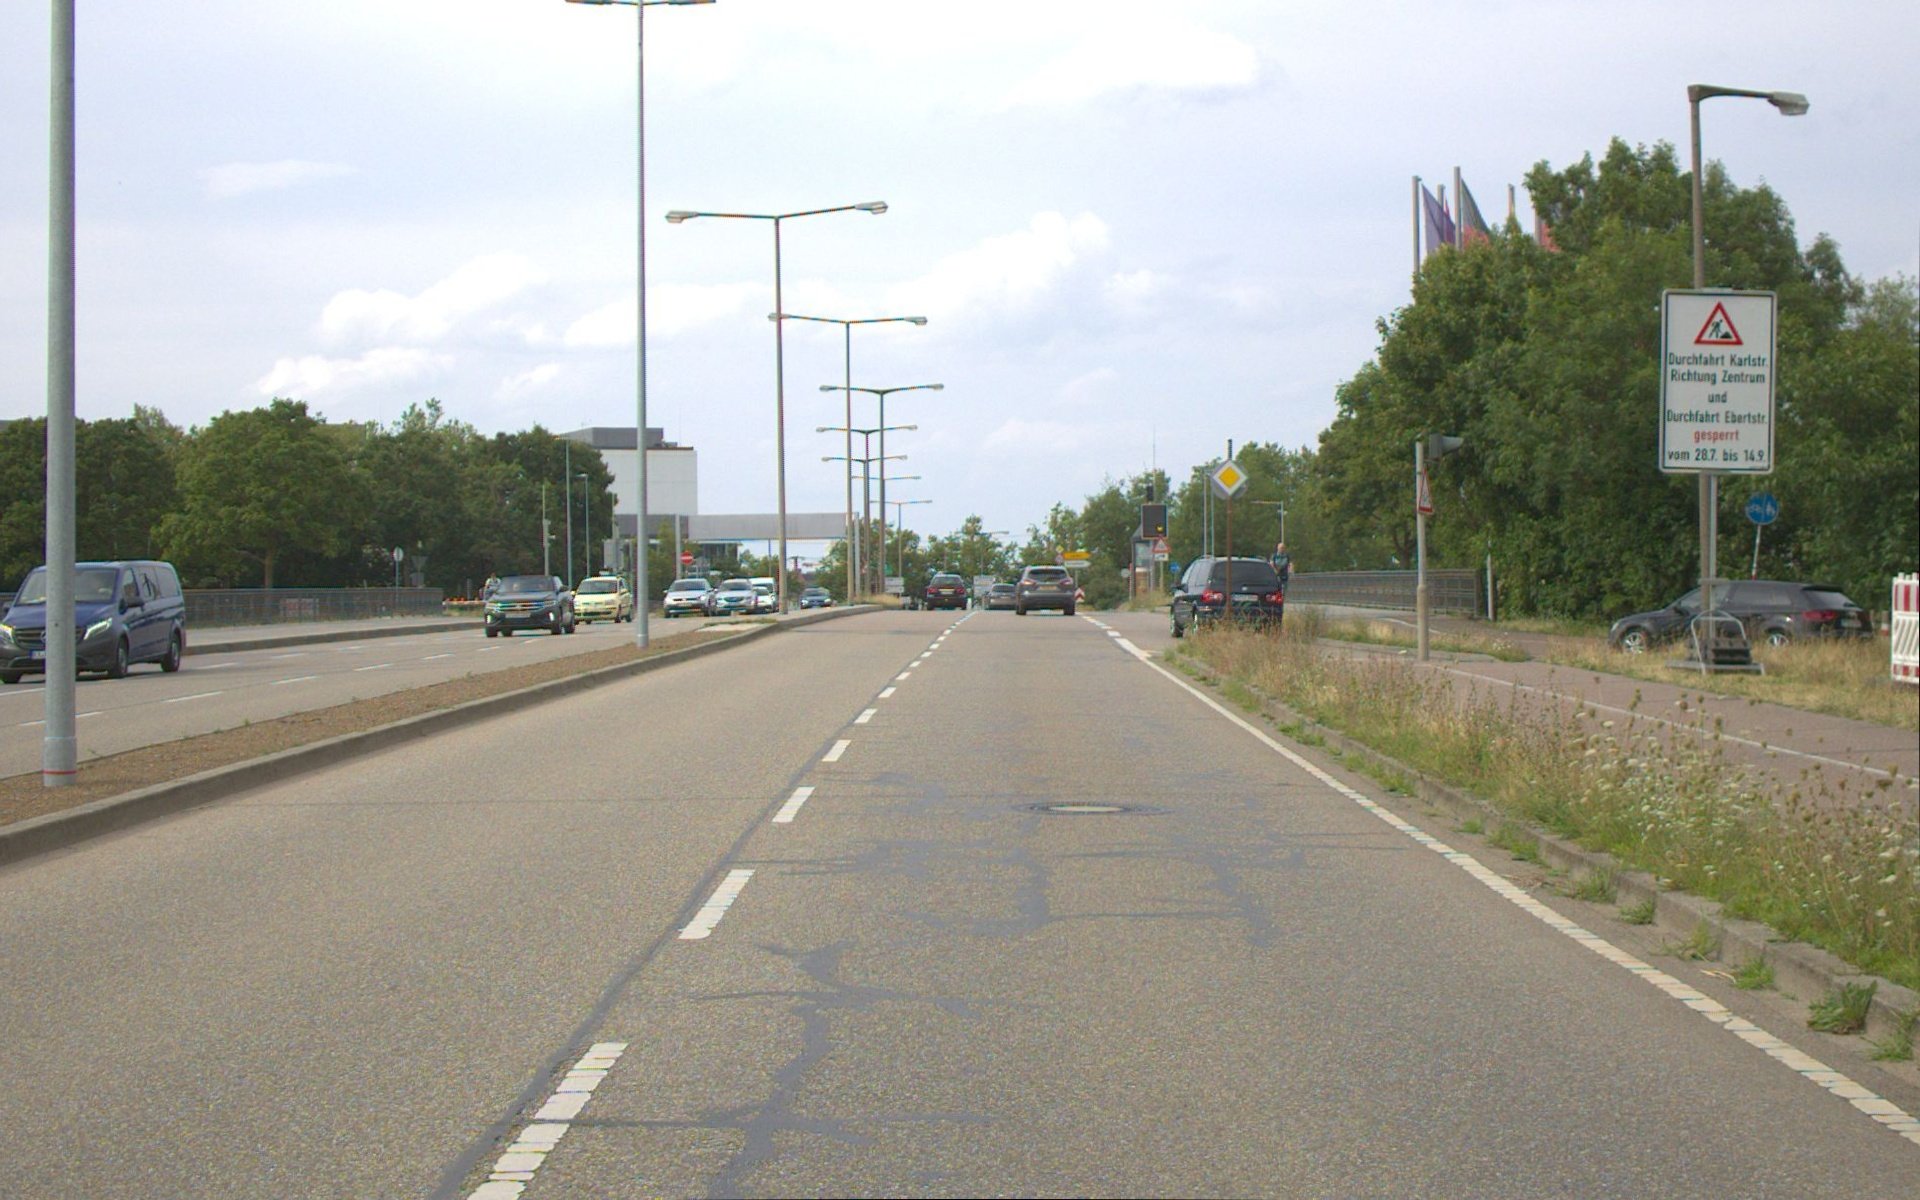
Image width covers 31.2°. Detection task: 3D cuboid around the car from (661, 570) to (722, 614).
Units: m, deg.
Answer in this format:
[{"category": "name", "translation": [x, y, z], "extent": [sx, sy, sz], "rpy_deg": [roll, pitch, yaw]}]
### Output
[{"category": "car", "translation": [-9.999, -0.295, 128.312], "extent": [1.650, 1.510, 4.015], "rpy_deg": [-2, 1, 4]}]

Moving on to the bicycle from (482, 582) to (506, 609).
[{"category": "bicycle", "translation": [-17.825, -0.177, 131.469], "extent": [0.706, 1.046, 2.060], "rpy_deg": [0, 0, -2]}]

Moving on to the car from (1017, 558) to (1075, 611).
[{"category": "car", "translation": [2.745, -0.482, 110.861], "extent": [1.730, 1.647, 4.115], "rpy_deg": [0, 0, 0]}]

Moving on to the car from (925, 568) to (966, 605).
[{"category": "car", "translation": [-0.638, -0.606, 155.972], "extent": [1.730, 1.647, 4.115], "rpy_deg": [0, 0, 1]}]

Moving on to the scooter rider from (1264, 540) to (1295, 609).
[{"category": "scooter rider", "translation": [7.851, -0.617, 84.537], "extent": [0.587, 1.685, 0.744], "rpy_deg": [1, 0, -7]}]

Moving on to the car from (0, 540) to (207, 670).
[{"category": "car", "translation": [-13.753, 0.024, 55.264], "extent": [1.847, 1.887, 5.505], "rpy_deg": [-3, 1, 2]}]

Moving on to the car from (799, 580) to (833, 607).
[{"category": "car", "translation": [-8.539, -0.373, 204.435], "extent": [1.738, 1.475, 4.776], "rpy_deg": [-2, -1, 1]}]

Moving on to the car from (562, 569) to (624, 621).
[{"category": "car", "translation": [-11.994, -0.175, 112.614], "extent": [1.548, 1.572, 3.691], "rpy_deg": [-2, 1, 1]}]

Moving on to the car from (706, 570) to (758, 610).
[{"category": "car", "translation": [-10.526, -0.466, 159.016], "extent": [1.863, 1.719, 4.770], "rpy_deg": [-2, 0, 2]}]

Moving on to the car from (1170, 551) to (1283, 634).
[{"category": "car", "translation": [5.484, -0.142, 71.127], "extent": [1.730, 1.647, 4.115], "rpy_deg": [0, 0, -4]}]

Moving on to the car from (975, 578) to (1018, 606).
[{"category": "car", "translation": [2.014, -0.445, 192.084], "extent": [1.730, 1.521, 4.116], "rpy_deg": [1, 0, -8]}]

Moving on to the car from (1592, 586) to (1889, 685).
[{"category": "car", "translation": [11.896, 0.518, 52.555], "extent": [4.112, 1.390, 1.732], "rpy_deg": [1, 2, 44]}]

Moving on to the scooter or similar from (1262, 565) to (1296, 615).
[{"category": "scooter or similar", "translation": [7.844, -0.241, 84.548], "extent": [0.588, 1.220, 1.203], "rpy_deg": [1, 0, -7]}]

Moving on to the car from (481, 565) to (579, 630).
[{"category": "car", "translation": [-10.383, -0.081, 83.259], "extent": [1.763, 1.436, 4.177], "rpy_deg": [-2, 1, 1]}]
